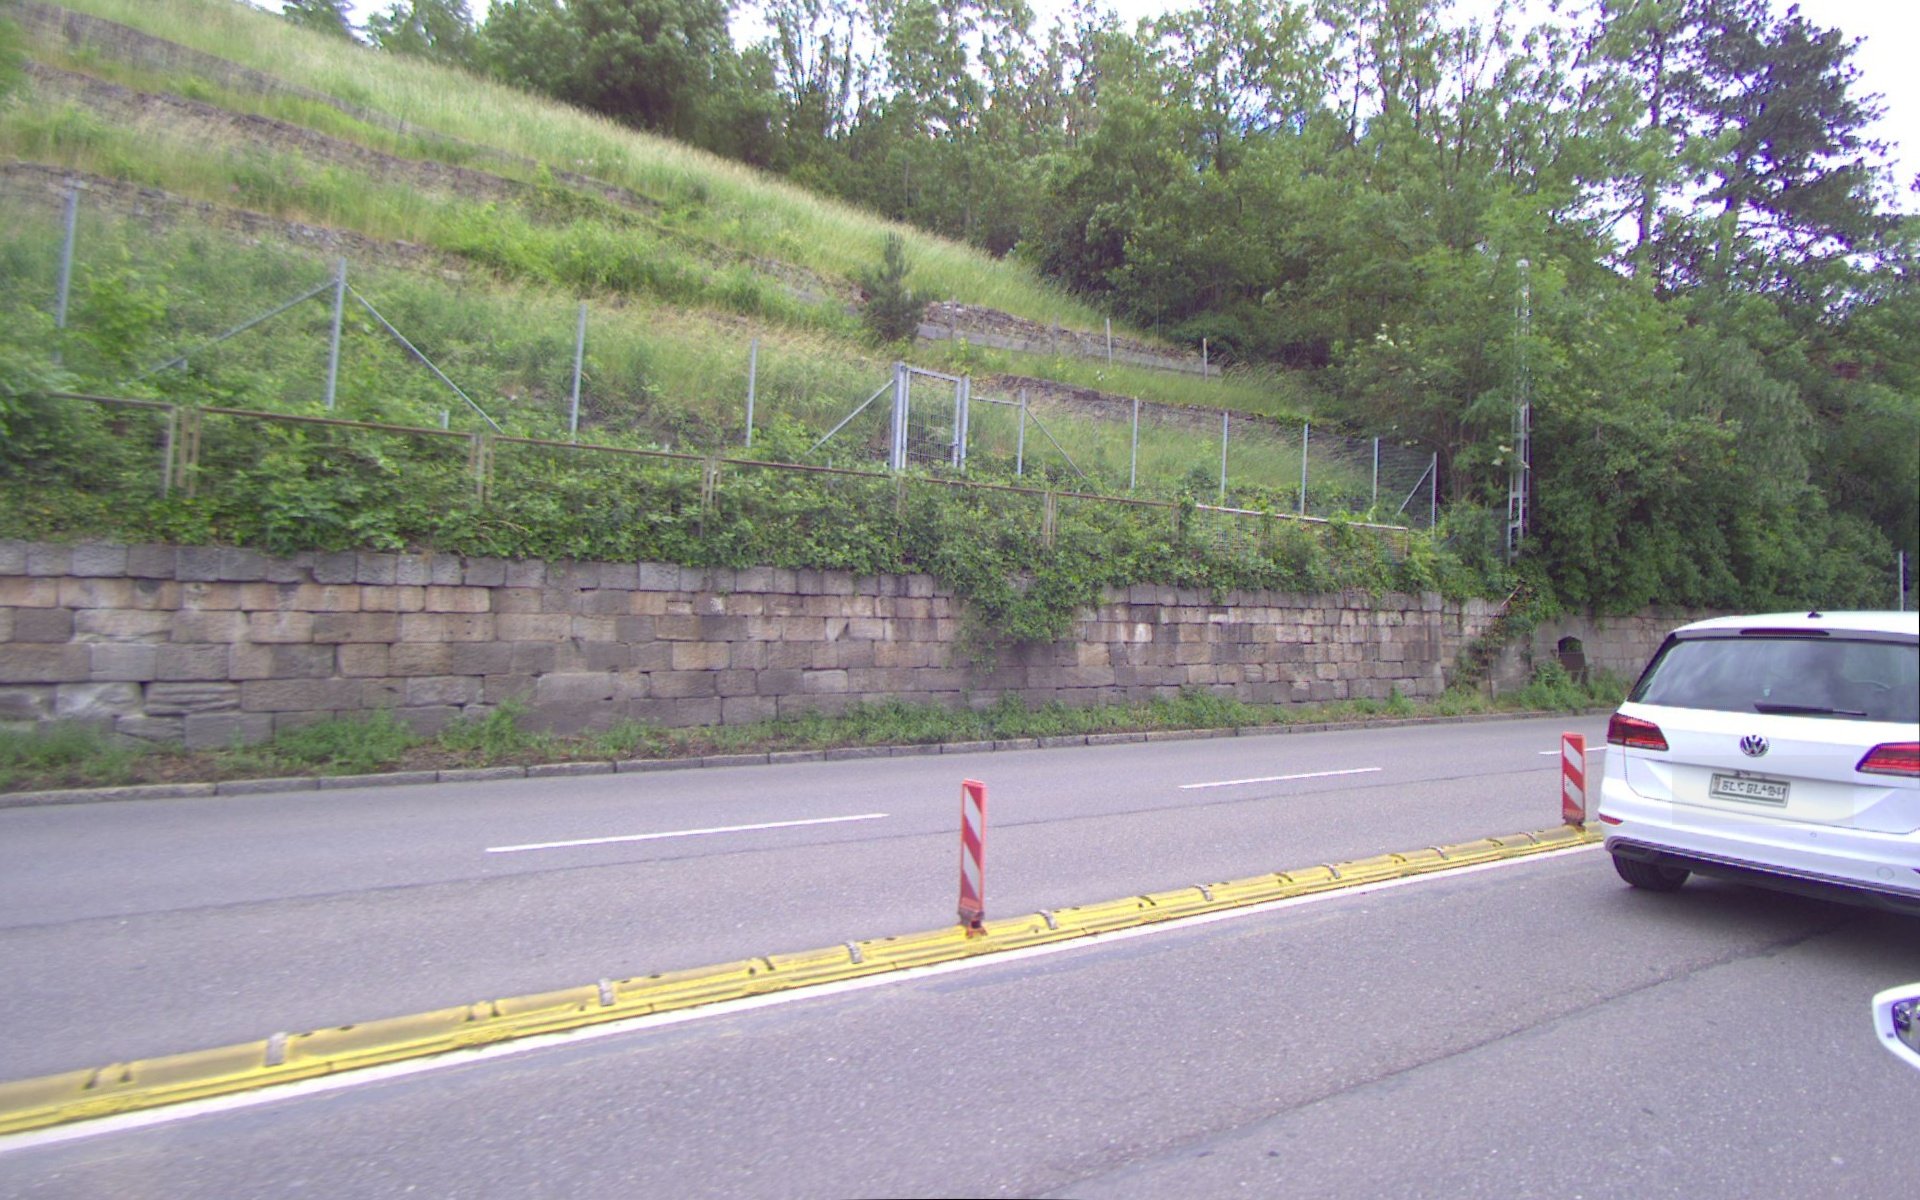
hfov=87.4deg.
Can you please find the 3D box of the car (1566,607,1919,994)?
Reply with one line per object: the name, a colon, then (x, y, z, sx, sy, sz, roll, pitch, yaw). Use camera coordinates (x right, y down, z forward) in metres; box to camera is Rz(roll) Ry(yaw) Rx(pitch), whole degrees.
car: (5.437, 0.871, 5.689, 4.227, 1.575, 1.711, 1, -1, -32)
